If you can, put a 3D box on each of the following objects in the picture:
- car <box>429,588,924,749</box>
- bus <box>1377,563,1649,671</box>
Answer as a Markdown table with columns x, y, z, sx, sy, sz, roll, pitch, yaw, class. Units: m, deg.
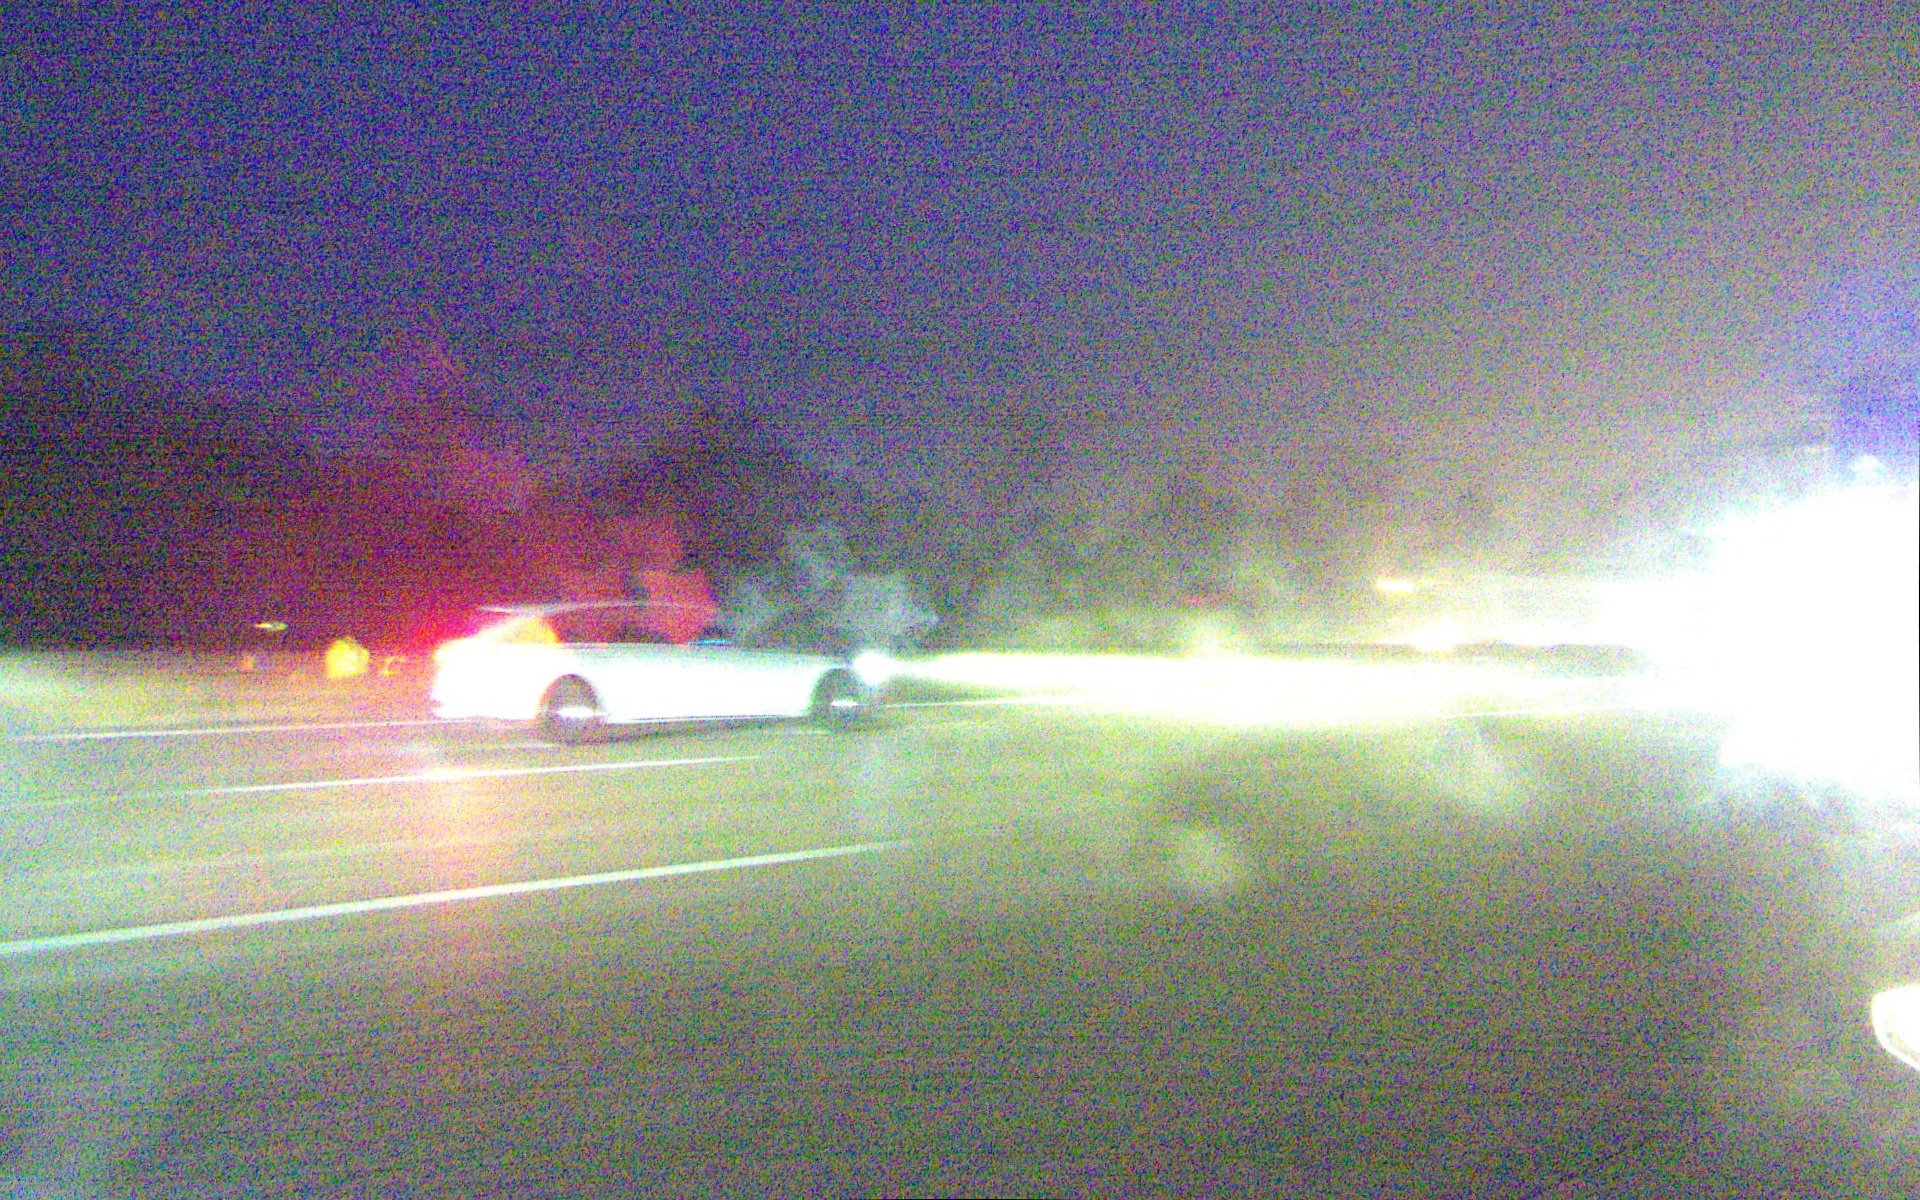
| x | y | z | sx | sy | sz | roll | pitch | yaw | class |
| --- | --- | --- | --- | --- | --- | --- | --- | --- | --- |
| -3.135 | 0.696 | 11.500 | 5.106 | 1.496 | 1.983 | 2 | 0 | -31 | car |
| 26.651 | 0.921 | 47.700 | 16.813 | 4.550 | 3.059 | 2 | 0 | -30 | bus |
